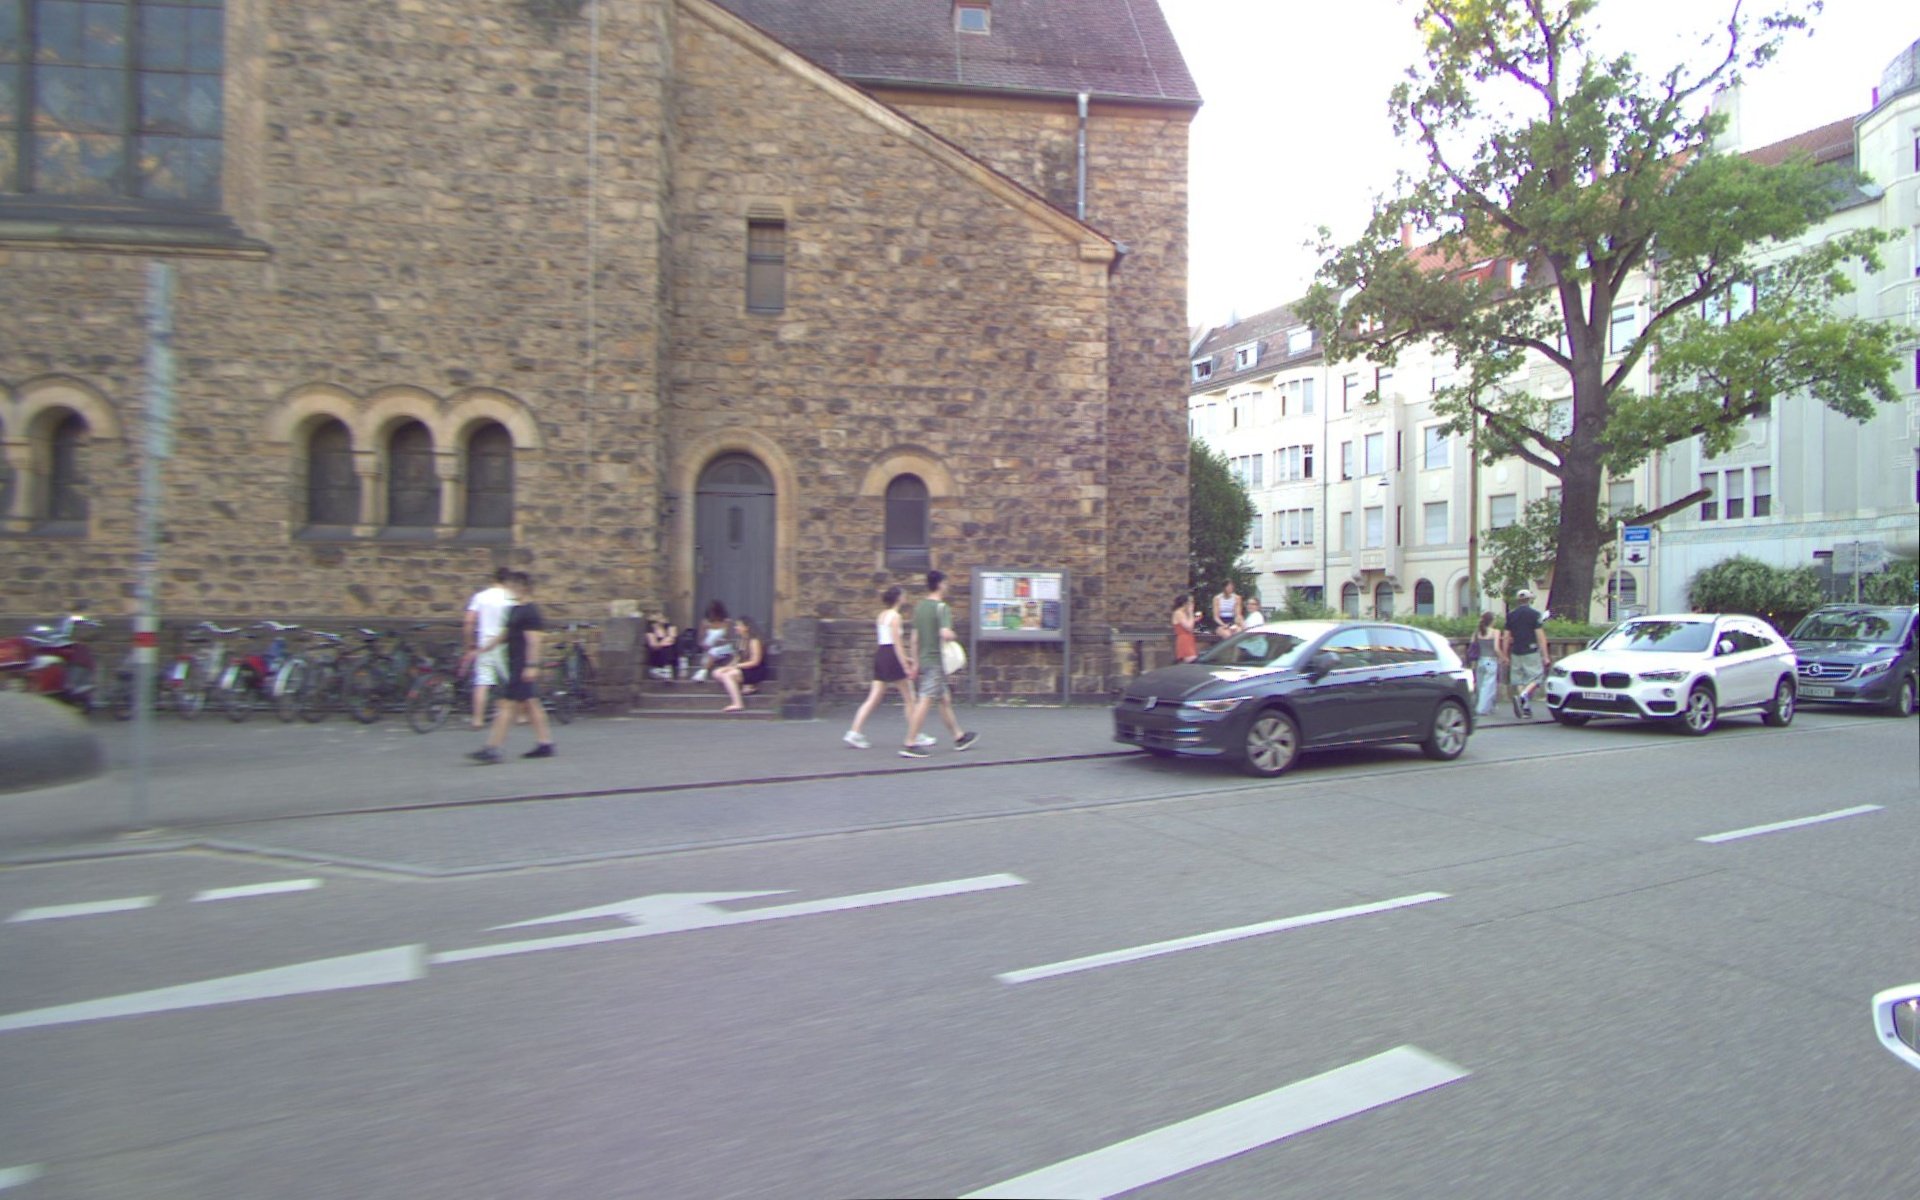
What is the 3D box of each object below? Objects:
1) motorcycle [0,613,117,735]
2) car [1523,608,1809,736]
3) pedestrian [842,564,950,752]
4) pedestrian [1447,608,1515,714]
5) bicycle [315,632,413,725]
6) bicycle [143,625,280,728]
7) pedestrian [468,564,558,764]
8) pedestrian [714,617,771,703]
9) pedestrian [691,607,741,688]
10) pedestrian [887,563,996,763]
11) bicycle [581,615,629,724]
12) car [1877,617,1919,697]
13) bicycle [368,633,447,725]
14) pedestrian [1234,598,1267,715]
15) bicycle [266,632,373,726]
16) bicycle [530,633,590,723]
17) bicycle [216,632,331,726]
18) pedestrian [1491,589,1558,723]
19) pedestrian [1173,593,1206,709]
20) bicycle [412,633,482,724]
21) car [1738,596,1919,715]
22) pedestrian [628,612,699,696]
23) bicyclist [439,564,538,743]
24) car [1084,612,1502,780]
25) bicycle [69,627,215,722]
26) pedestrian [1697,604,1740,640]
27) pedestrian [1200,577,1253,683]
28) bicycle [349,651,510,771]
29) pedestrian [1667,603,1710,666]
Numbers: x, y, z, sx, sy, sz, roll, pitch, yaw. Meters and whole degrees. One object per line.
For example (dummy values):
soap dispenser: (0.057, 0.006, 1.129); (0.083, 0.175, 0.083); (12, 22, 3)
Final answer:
motorcycle: (-10.235, 0.756, 11.098); (0.811, 1.141, 2.407); (1, 1, -25)
car: (10.344, 0.963, 14.640); (4.419, 1.613, 1.861); (1, -1, -32)
pedestrian: (-0.671, 0.591, 10.565); (0.978, 1.881, 0.569); (1, -1, -33)
pedestrian: (8.052, 0.924, 15.525); (0.830, 1.572, 0.578); (1, 0, -33)
bicycle: (-7.142, 0.898, 12.123); (0.458, 1.002, 1.985); (1, -1, -14)
bicycle: (-8.772, 0.856, 11.870); (0.576, 1.002, 2.002); (1, 2, -14)
pedestrian: (-4.097, 0.572, 9.240); (0.706, 1.748, 0.688); (1, -1, -23)
pedestrian: (-2.800, 0.760, 12.915); (0.688, 1.070, 0.516); (1, -1, -13)
pedestrian: (-3.274, 0.636, 13.494); (0.596, 1.062, 0.498); (1, -1, -10)
pedestrian: (-0.189, 0.607, 10.093); (0.882, 1.904, 0.643); (1, -1, -33)
bicycle: (-4.392, 0.822, 12.495); (0.430, 1.265, 1.728); (1, -1, -15)
car: (20.824, 1.158, 20.697); (3.954, 1.576, 1.634); (1, -1, -28)
bicycle: (-6.665, 0.916, 12.193); (0.364, 1.002, 1.879); (1, -1, -14)
pedestrian: (4.179, 0.803, 14.438); (0.407, 1.643, 0.548); (1, -1, 20)
bicycle: (-7.623, 0.898, 12.041); (0.458, 1.002, 2.002); (1, -1, -14)
bicycle: (-4.910, 0.917, 12.391); (0.434, 1.002, 1.879); (1, -1, -14)
bicycle: (-8.120, 0.890, 11.965); (0.458, 1.002, 2.002); (1, -1, -14)
pedestrian: (8.421, 0.821, 14.990); (0.794, 1.930, 0.579); (1, -1, -33)
pedestrian: (3.454, 0.752, 15.101); (0.407, 1.697, 0.548); (1, 0, 20)
bicycle: (-6.245, 0.922, 12.295); (0.364, 1.002, 1.879); (1, -1, -15)
car: (16.469, 0.940, 18.103); (5.225, 1.891, 1.985); (1, -1, -29)
pedestrian: (-3.862, 0.686, 13.072); (0.726, 1.062, 0.519); (0, -1, 30)
bicyclist: (-5.239, 0.579, 11.215); (0.694, 1.905, 0.942); (1, 0, -5)
car: (3.557, 0.889, 10.563); (4.263, 1.454, 1.776); (1, -1, -29)
bicycle: (-9.496, 0.827, 11.757); (0.576, 1.002, 2.001); (1, -1, -16)
pedestrian: (20.824, 0.607, 27.585); (0.827, 0.993, 0.702); (1, -1, -32)
pedestrian: (4.048, 0.448, 15.269); (0.574, 1.566, 0.652); (1, 0, -6)
bicycle: (-5.558, 1.114, 10.685); (0.542, 1.026, 2.188); (1, 0, 0)
pedestrian: (20.440, 0.968, 28.184); (0.827, 1.744, 0.702); (1, -1, -32)
